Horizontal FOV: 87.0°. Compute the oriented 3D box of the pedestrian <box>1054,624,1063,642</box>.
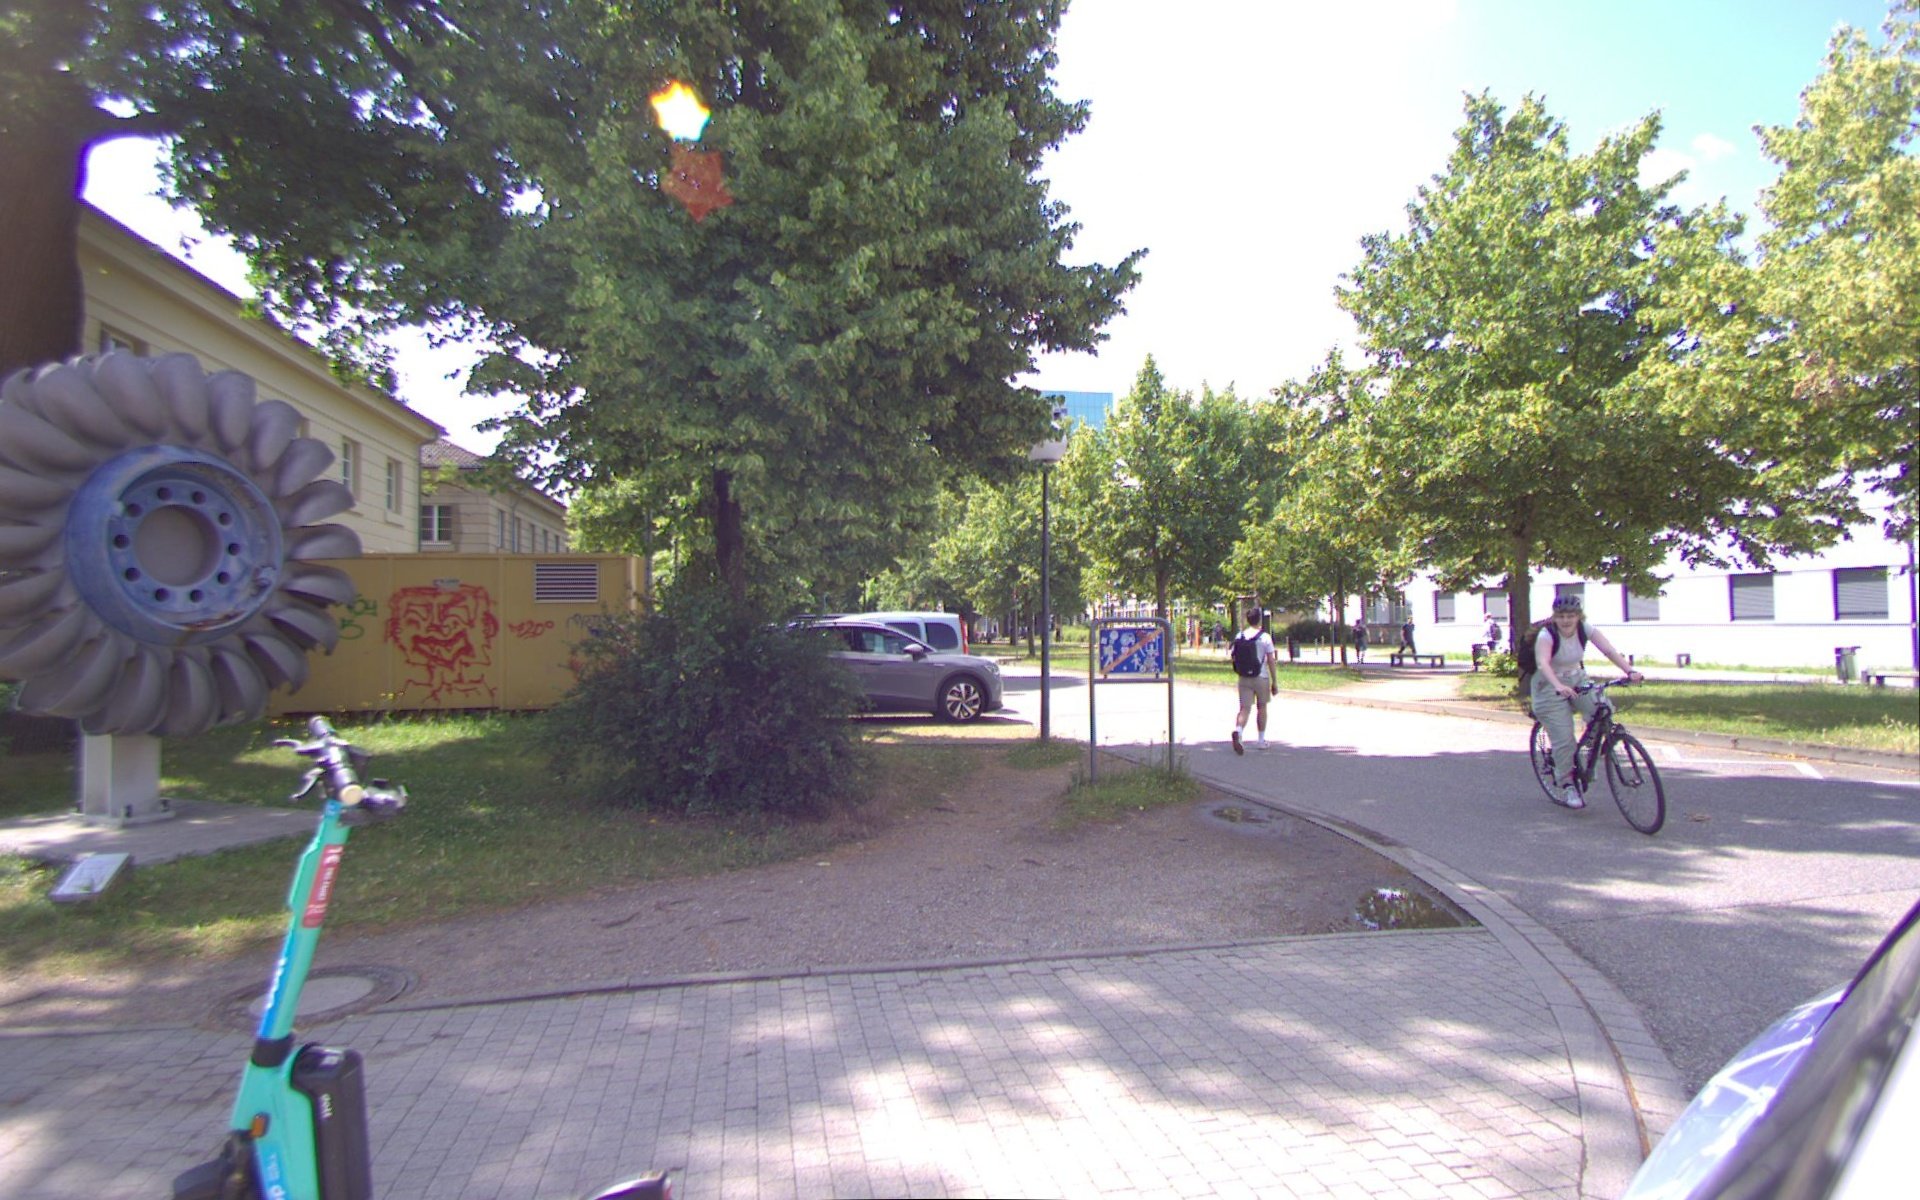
[{"bbox_3d":[9.118,3.087,93.741,0.584,1.650,0.764,0,-2,-12],"label":"pedestrian"}]

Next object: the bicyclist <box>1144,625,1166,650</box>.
[{"bbox_3d":[10.269,1.981,53.299,0.883,1.276,0.799,0,-2,-6],"label":"bicyclist"}]

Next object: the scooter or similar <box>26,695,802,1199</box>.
[{"bbox_3d":[-1.055,0.874,2.168,1.355,1.270,0.554,-1,-2,-3],"label":"scooter or similar"}]

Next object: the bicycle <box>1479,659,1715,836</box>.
[{"bbox_3d":[4.760,1.041,7.769,0.664,1.086,2.130,-3,-2,8],"label":"bicycle"}]

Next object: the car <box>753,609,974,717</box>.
[{"bbox_3d":[-1.876,1.127,19.045,3.916,1.861,1.827,0,-2,-13],"label":"car"}]

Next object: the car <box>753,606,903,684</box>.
[{"bbox_3d":[-3.706,1.218,28.167,3.968,2.040,2.003,0,-2,-10],"label":"car"}]

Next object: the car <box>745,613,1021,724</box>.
[{"bbox_3d":[-1.329,1.072,16.608,4.271,1.673,1.898,0,-2,-13],"label":"car"}]

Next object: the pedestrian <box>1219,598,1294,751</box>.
[{"bbox_3d":[3.530,0.865,12.073,0.628,1.767,0.583,0,-2,-9],"label":"pedestrian"}]

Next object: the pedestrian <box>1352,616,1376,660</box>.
[{"bbox_3d":[15.548,1.449,38.930,0.720,1.678,0.708,-2,-2,29],"label":"pedestrian"}]

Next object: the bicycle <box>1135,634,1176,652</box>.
[{"bbox_3d":[10.286,2.260,53.290,1.907,0.929,0.799,0,-2,-6],"label":"bicycle"}]

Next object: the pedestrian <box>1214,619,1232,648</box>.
[{"bbox_3d":[15.800,2.010,60.774,0.834,1.670,0.803,-1,-2,-1],"label":"pedestrian"}]

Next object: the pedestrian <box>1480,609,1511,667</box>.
[{"bbox_3d":[16.904,1.184,31.950,0.707,1.793,0.818,-2,-2,38],"label":"pedestrian"}]

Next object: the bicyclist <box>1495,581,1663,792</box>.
[{"bbox_3d":[4.717,0.632,7.792,0.664,1.497,1.060,-2,-1,9],"label":"bicyclist"}]

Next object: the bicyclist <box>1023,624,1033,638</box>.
[{"bbox_3d":[6.856,3.107,102.318,0.763,1.350,0.829,0,-2,-12],"label":"bicyclist"}]

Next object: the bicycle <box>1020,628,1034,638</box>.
[{"bbox_3d":[6.788,3.339,102.620,0.763,1.045,2.152,0,-2,-12],"label":"bicycle"}]

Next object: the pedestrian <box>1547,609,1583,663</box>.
[{"bbox_3d":[19.562,1.157,32.734,0.616,1.710,0.726,0,-2,-12],"label":"pedestrian"}]

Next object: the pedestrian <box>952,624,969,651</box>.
[{"bbox_3d":[0.022,2.094,56.406,0.780,1.507,0.636,0,-2,-12],"label":"pedestrian"}]

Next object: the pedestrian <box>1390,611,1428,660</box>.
[{"bbox_3d":[16.623,1.312,37.489,0.778,1.799,1.095,-1,-2,-6],"label":"pedestrian"}]

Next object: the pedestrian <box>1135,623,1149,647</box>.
[{"bbox_3d":[13.083,2.501,72.585,0.780,1.744,0.636,0,-2,-12],"label":"pedestrian"}]
